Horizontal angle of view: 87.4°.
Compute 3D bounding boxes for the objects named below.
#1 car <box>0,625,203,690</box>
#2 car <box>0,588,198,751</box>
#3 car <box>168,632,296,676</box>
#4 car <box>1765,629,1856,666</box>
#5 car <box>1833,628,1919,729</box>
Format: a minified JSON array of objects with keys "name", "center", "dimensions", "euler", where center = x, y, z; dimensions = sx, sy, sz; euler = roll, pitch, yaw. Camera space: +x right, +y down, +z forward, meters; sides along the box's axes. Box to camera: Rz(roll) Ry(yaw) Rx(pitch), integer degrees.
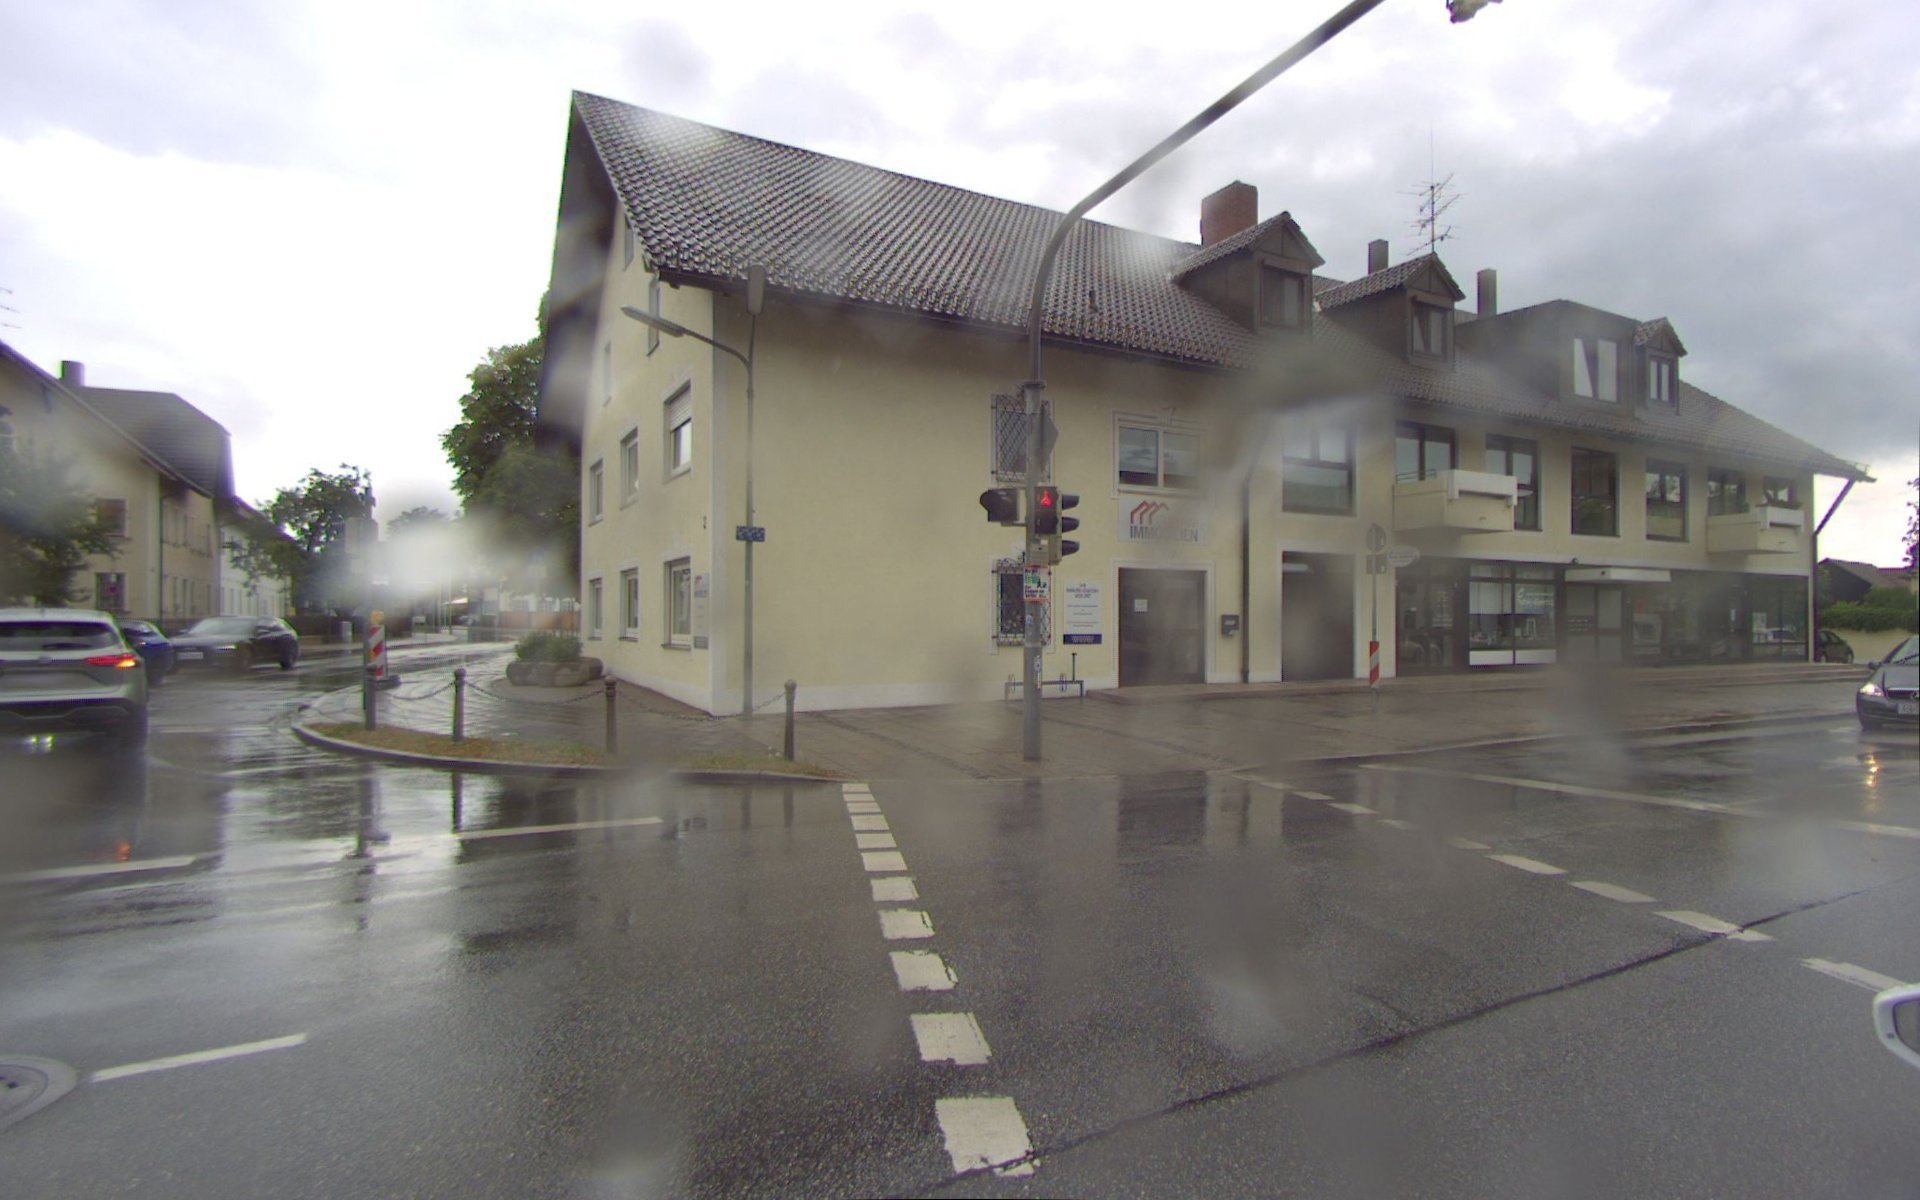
[{"name":"car","center":[-17.904,1.150,21.135],"dimensions":[1.662,1.201,4.346],"euler":[1,-1,-16]},{"name":"car","center":[-11.158,0.795,12.341],"dimensions":[4.324,1.695,2.078],"euler":[-2,-3,42]},{"name":"car","center":[-19.241,1.394,26.728],"dimensions":[1.400,1.030,4.061],"euler":[1,-1,-16]},{"name":"car","center":[33.116,1.845,39.105],"dimensions":[3.467,1.398,1.600],"euler":[1,-2,-30]},{"name":"car","center":[16.382,1.256,16.537],"dimensions":[3.854,1.553,1.907],"euler":[1,-2,-31]}]
